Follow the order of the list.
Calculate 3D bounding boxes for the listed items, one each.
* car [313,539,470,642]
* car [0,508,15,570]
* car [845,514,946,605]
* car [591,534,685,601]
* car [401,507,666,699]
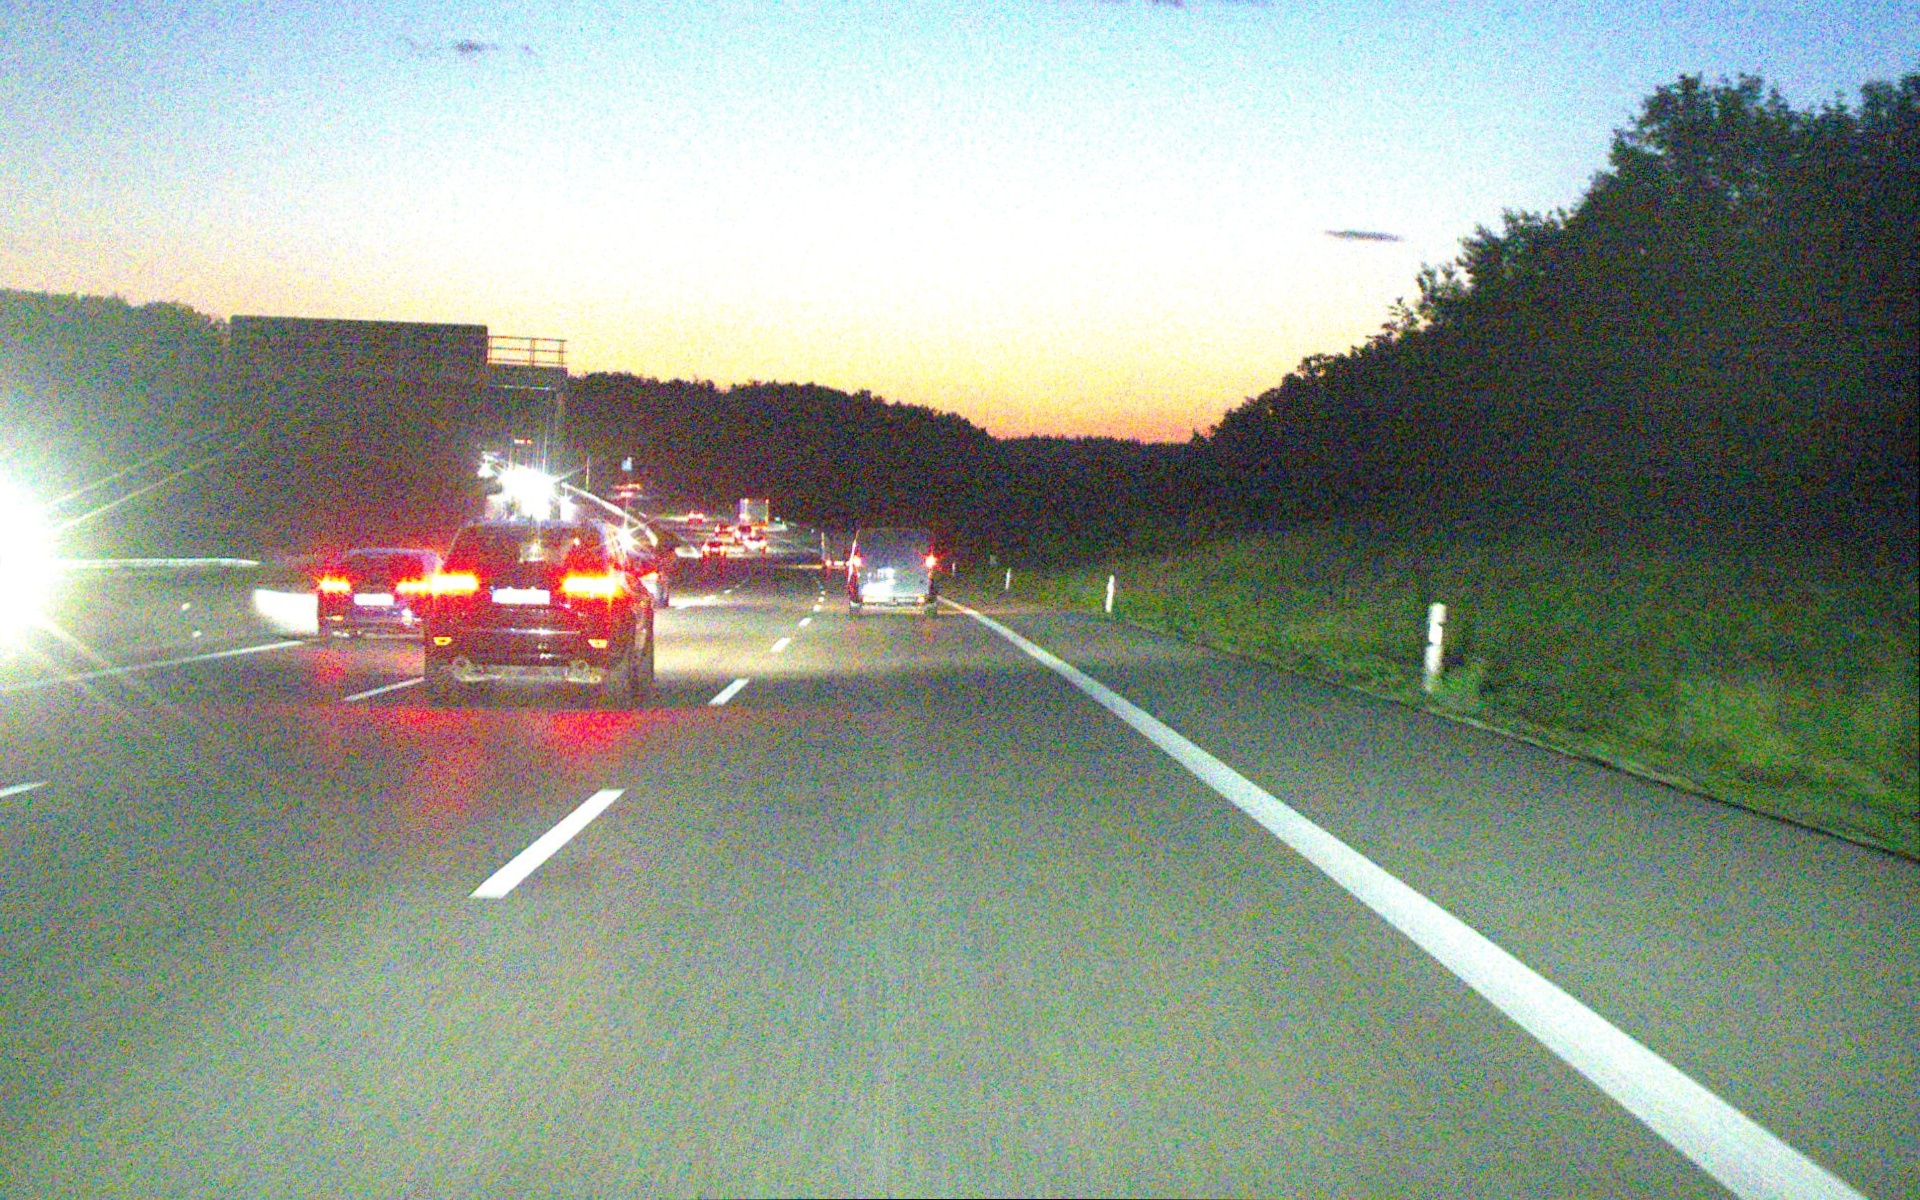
[{"bbox_3d":[-8.344,-0.170,50.826,1.549,1.426,5.515,0,1,-1],"label":"car"},{"bbox_3d":[-24.587,-1.508,84.223,1.993,1.504,4.001,1,1,-4],"label":"car"},{"bbox_3d":[-1.450,-0.947,77.774,2.196,1.948,4.764,0,2,-1],"label":"car"},{"bbox_3d":[-8.206,-0.859,87.949,1.780,1.481,5.254,3,2,1],"label":"car"},{"bbox_3d":[-4.103,-0.016,33.994,1.993,1.715,5.943,0,1,-1],"label":"car"}]
